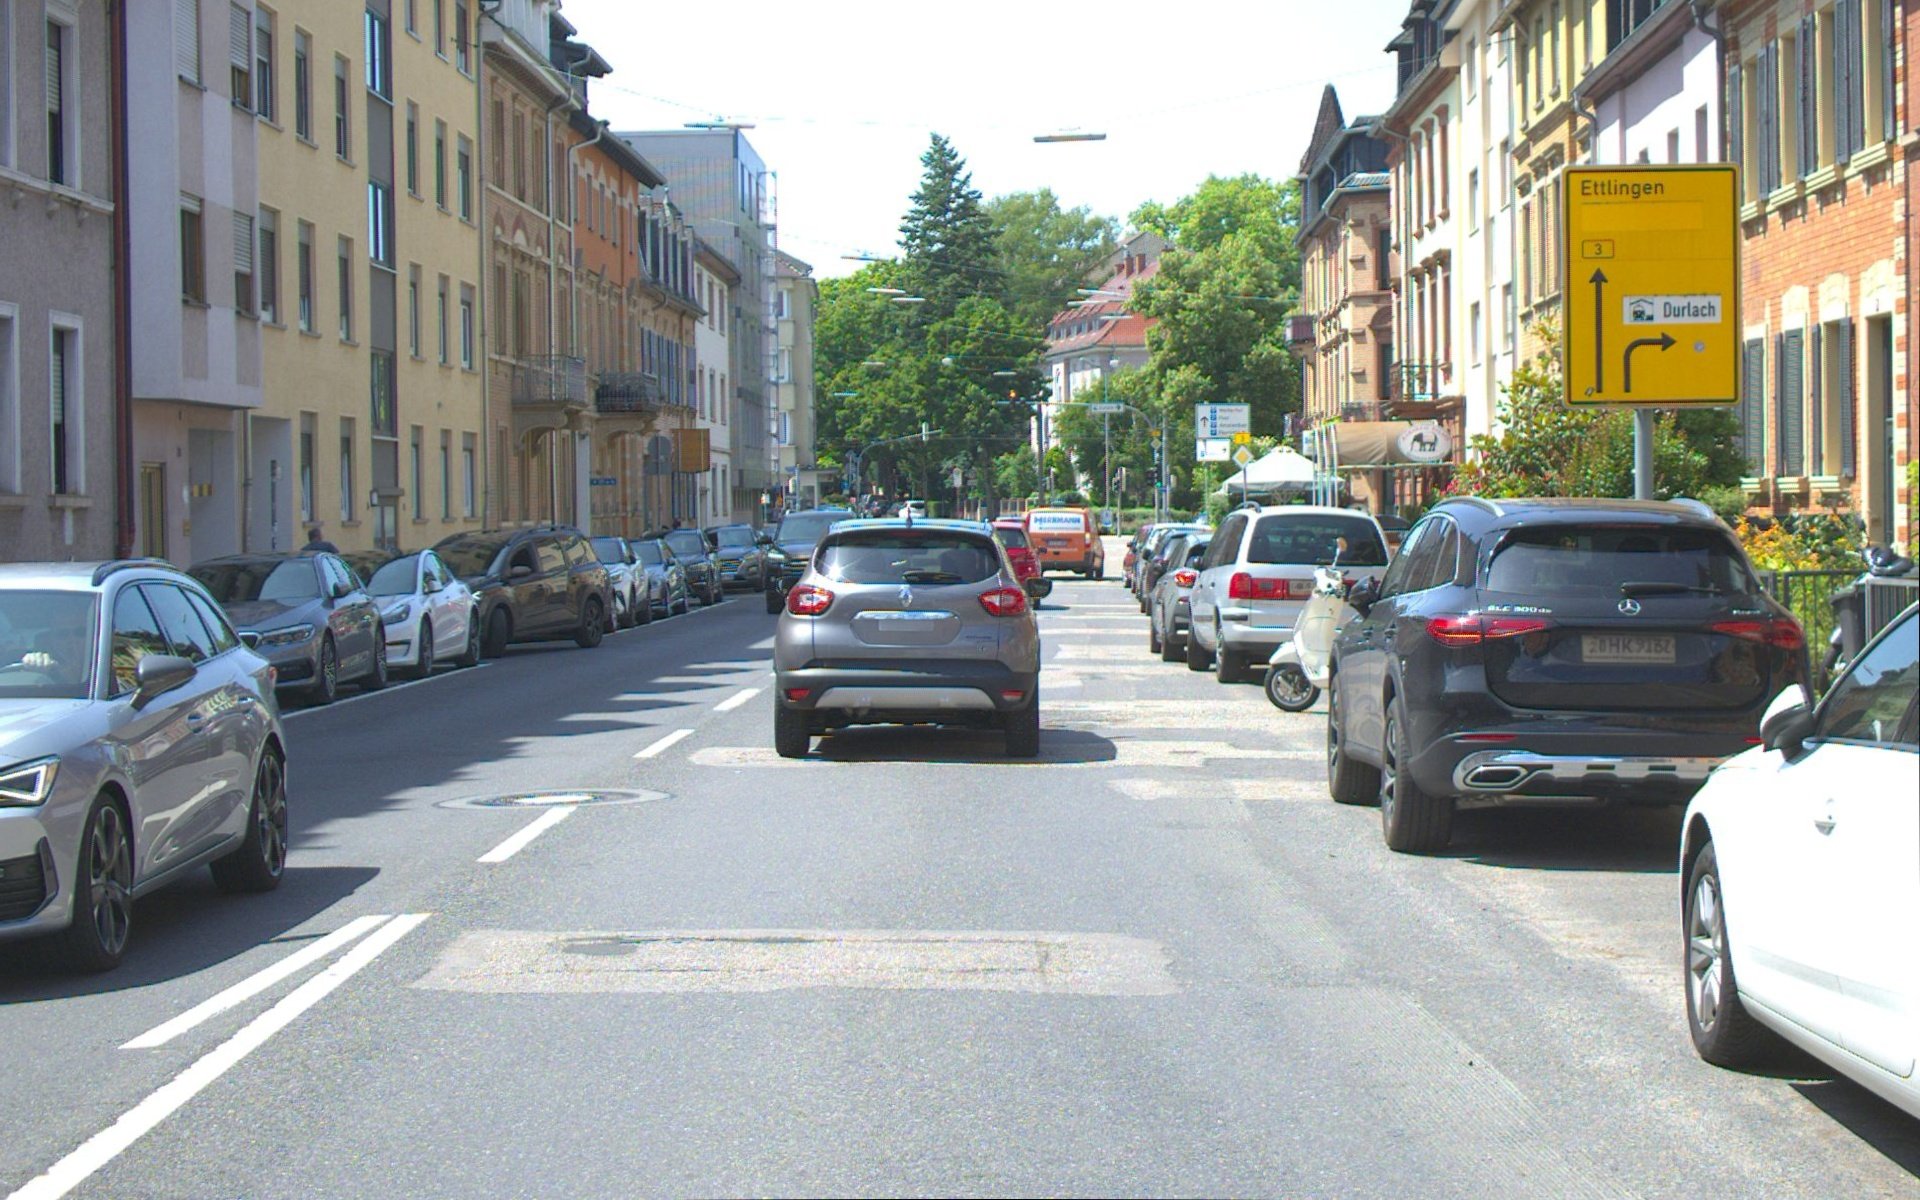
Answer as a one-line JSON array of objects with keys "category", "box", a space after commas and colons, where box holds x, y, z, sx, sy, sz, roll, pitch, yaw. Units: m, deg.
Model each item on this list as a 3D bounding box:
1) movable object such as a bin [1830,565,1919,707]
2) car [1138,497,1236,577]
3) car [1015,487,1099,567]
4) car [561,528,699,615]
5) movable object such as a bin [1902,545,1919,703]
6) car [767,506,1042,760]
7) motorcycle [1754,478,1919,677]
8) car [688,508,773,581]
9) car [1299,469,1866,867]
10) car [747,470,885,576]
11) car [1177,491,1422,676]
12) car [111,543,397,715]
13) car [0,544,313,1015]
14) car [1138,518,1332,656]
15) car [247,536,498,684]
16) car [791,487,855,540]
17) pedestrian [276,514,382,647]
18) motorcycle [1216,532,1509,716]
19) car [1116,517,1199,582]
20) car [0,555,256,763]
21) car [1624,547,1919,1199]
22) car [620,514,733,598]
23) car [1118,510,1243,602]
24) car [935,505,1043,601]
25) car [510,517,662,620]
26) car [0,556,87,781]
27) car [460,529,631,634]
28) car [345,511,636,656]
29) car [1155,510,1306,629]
[{"category": "movable object such as a bin", "box": [6.290, 0.243, 23.616, 0.481, 0.938, 0.526, -2, 2, 2]}, {"category": "car", "box": [4.543, -1.292, 69.340, 1.860, 1.548, 4.000, 0, 2, 2]}, {"category": "car", "box": [2.619, -1.990, 92.018, 1.994, 2.006, 4.466, -2, 2, 4]}, {"category": "car", "box": [-6.016, -0.553, 63.152, 1.905, 1.396, 4.755, -4, 2, 1]}, {"category": "movable object such as a bin", "box": [6.858, 0.160, 23.638, 0.557, 1.072, 0.727, -2, 2, 2]}, {"category": "car", "box": [-0.320, 0.157, 23.833, 1.744, 1.611, 4.000, 0, 1, 1]}, {"category": "motorcycle", "box": [7.156, -0.209, 25.752, 2.129, 1.403, 0.937, -3, 1, 0]}, {"category": "car", "box": [-5.578, -1.373, 84.099, 1.904, 1.614, 4.303, -4, 2, -3]}, {"category": "car", "box": [2.926, 0.234, 17.218, 1.993, 1.656, 4.625, -2, 1, 1]}, {"category": "car", "box": [-2.602, -1.443, 63.495, 1.994, 1.786, 5.148, -2, 2, 3]}, {"category": "car", "box": [3.357, -0.230, 34.856, 1.860, 1.742, 4.619, 0, 2, -2]}, {"category": "car", "box": [-6.750, 0.223, 33.338, 1.839, 1.417, 4.647, -4, 1, -1]}, {"category": "car", "box": [-3.823, 0.592, 13.297, 1.790, 1.415, 4.315, -3, 2, -1]}, {"category": "car", "box": [3.156, -0.196, 40.231, 1.860, 1.482, 4.310, 0, 2, -1]}, {"category": "car", "box": [-6.601, 0.069, 39.118, 1.840, 1.417, 4.558, -4, 1, 2]}, {"category": "car", "box": [-4.923, -3.132, 124.261, 1.905, 1.815, 4.302, -2, 2, 2]}, {"category": "pedestrian", "box": [-8.559, -0.268, 46.680, 1.151, 1.744, 0.969, -2, 2, 4]}, {"category": "motorcycle", "box": [3.167, 0.168, 27.088, 1.994, 1.381, 1.110, 0, 2, 39]}, {"category": "car", "box": [4.557, -1.185, 79.582, 1.611, 1.438, 3.437, -1, 2, -2]}, {"category": "car", "box": [-6.981, 0.430, 27.409, 1.839, 1.417, 4.503, -4, 1, -1]}, {"category": "car", "box": [2.851, 0.610, 8.053, 1.716, 1.409, 4.590, -2, 2, 1]}, {"category": "car", "box": [-5.967, -0.957, 72.756, 1.905, 1.614, 4.303, -4, 2, 0]}, {"category": "car", "box": [3.700, -0.770, 58.242, 1.860, 1.460, 4.618, 0, 2, 1]}, {"category": "car", "box": [0.497, -0.890, 63.116, 1.812, 1.615, 4.442, -3, 1, -1]}, {"category": "car", "box": [-6.147, -0.556, 56.953, 1.905, 1.505, 4.303, -4, 2, 1]}, {"category": "car", "box": [-7.113, 0.541, 21.685, 1.840, 1.417, 4.502, -5, 1, 2]}, {"category": "car", "box": [-6.229, -0.306, 52.047, 1.905, 1.374, 4.061, -4, 2, 2]}, {"category": "car", "box": [-6.136, -0.260, 45.484, 1.906, 1.632, 4.554, -3, 2, 18]}, {"category": "car", "box": [3.570, -0.448, 46.063, 1.695, 1.482, 4.618, 0, 2, 1]}]
